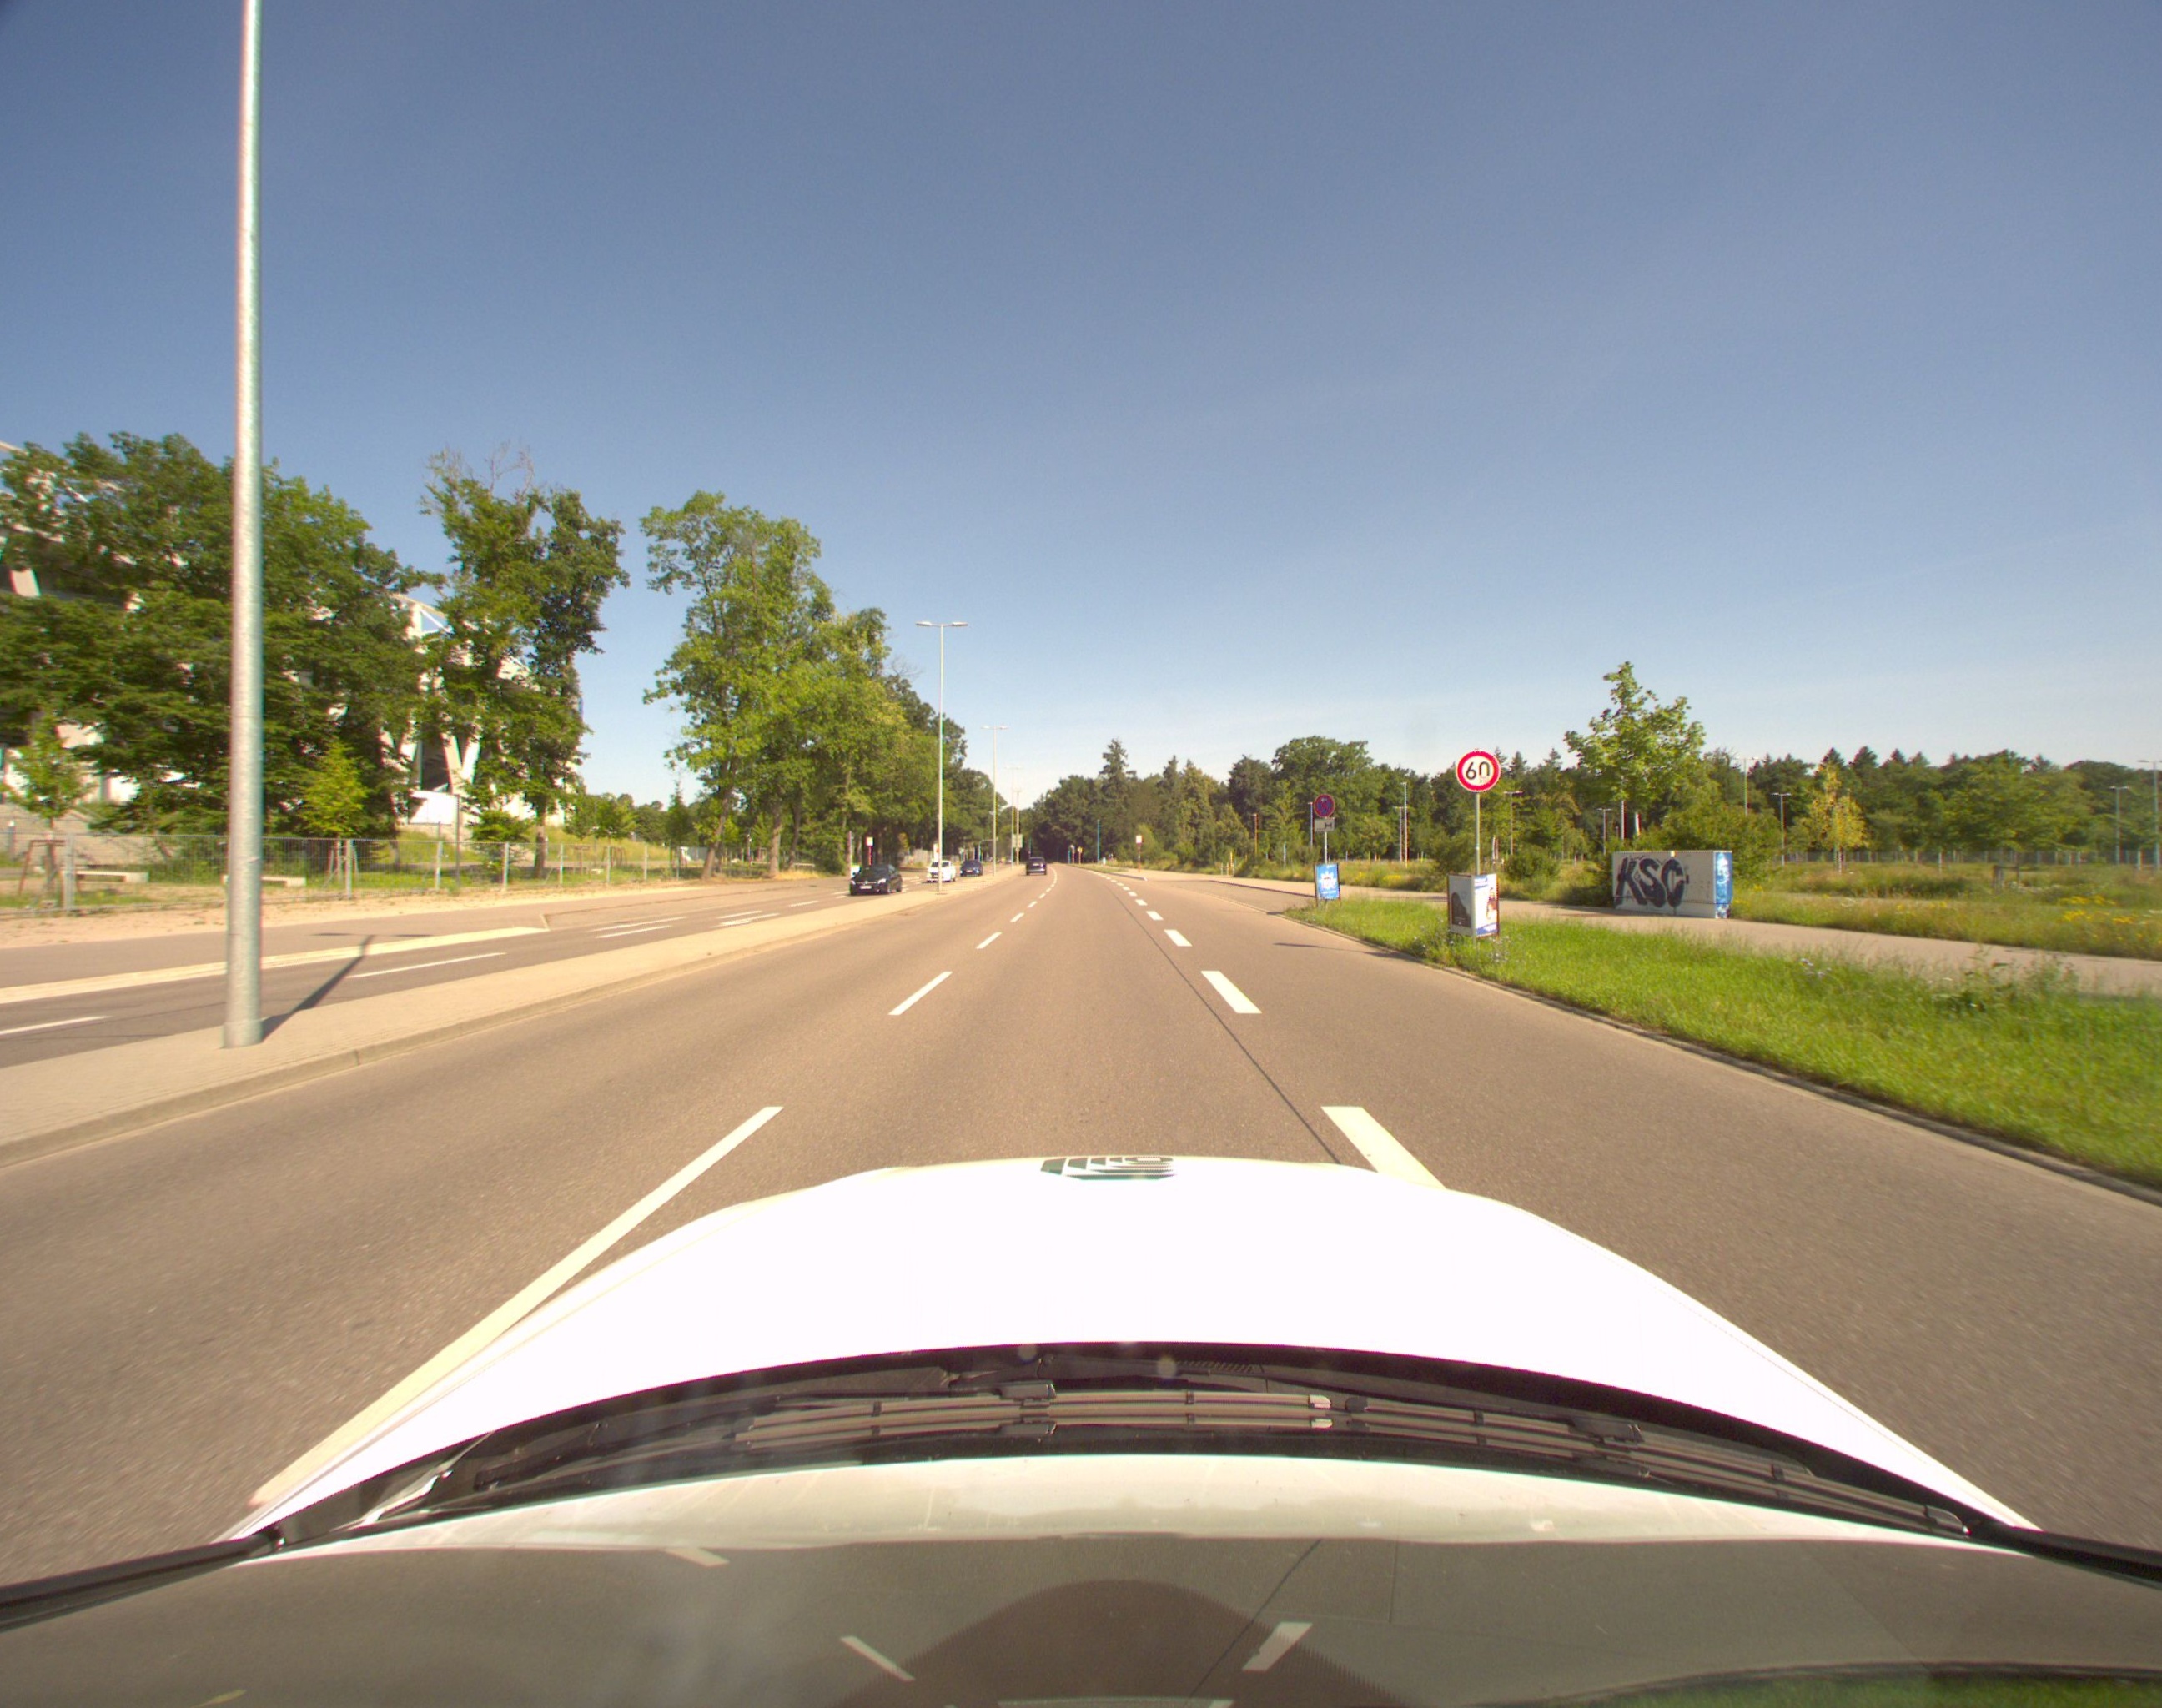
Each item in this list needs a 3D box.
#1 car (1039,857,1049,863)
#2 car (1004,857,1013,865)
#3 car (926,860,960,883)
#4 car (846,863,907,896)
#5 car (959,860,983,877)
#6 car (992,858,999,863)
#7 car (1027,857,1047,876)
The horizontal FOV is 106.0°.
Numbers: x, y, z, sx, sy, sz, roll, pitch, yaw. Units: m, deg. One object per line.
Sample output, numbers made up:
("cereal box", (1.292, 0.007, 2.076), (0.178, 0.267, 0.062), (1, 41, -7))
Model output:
("car", (-8.239, 1.325, 179.579), (1.939, 1.420, 4.283), (0, 0, -7))
("car", (-17.396, 1.702, 195.307), (1.837, 1.932, 4.624), (-1, 0, -3))
("car", (-9.498, 1.176, 56.210), (1.618, 1.466, 3.799), (-2, 0, 0))
("car", (-9.694, 1.168, 38.869), (1.805, 1.388, 4.161), (-2, 0, 0))
("car", (-10.054, 1.317, 74.587), (1.749, 1.486, 3.943), (-2, 0, -2))
("car", (-22.671, 1.698, 216.516), (1.791, 1.478, 3.993), (0, -1, -5))
("car", (-3.933, 1.098, 72.230), (1.684, 1.544, 4.142), (-1, 0, -4))
